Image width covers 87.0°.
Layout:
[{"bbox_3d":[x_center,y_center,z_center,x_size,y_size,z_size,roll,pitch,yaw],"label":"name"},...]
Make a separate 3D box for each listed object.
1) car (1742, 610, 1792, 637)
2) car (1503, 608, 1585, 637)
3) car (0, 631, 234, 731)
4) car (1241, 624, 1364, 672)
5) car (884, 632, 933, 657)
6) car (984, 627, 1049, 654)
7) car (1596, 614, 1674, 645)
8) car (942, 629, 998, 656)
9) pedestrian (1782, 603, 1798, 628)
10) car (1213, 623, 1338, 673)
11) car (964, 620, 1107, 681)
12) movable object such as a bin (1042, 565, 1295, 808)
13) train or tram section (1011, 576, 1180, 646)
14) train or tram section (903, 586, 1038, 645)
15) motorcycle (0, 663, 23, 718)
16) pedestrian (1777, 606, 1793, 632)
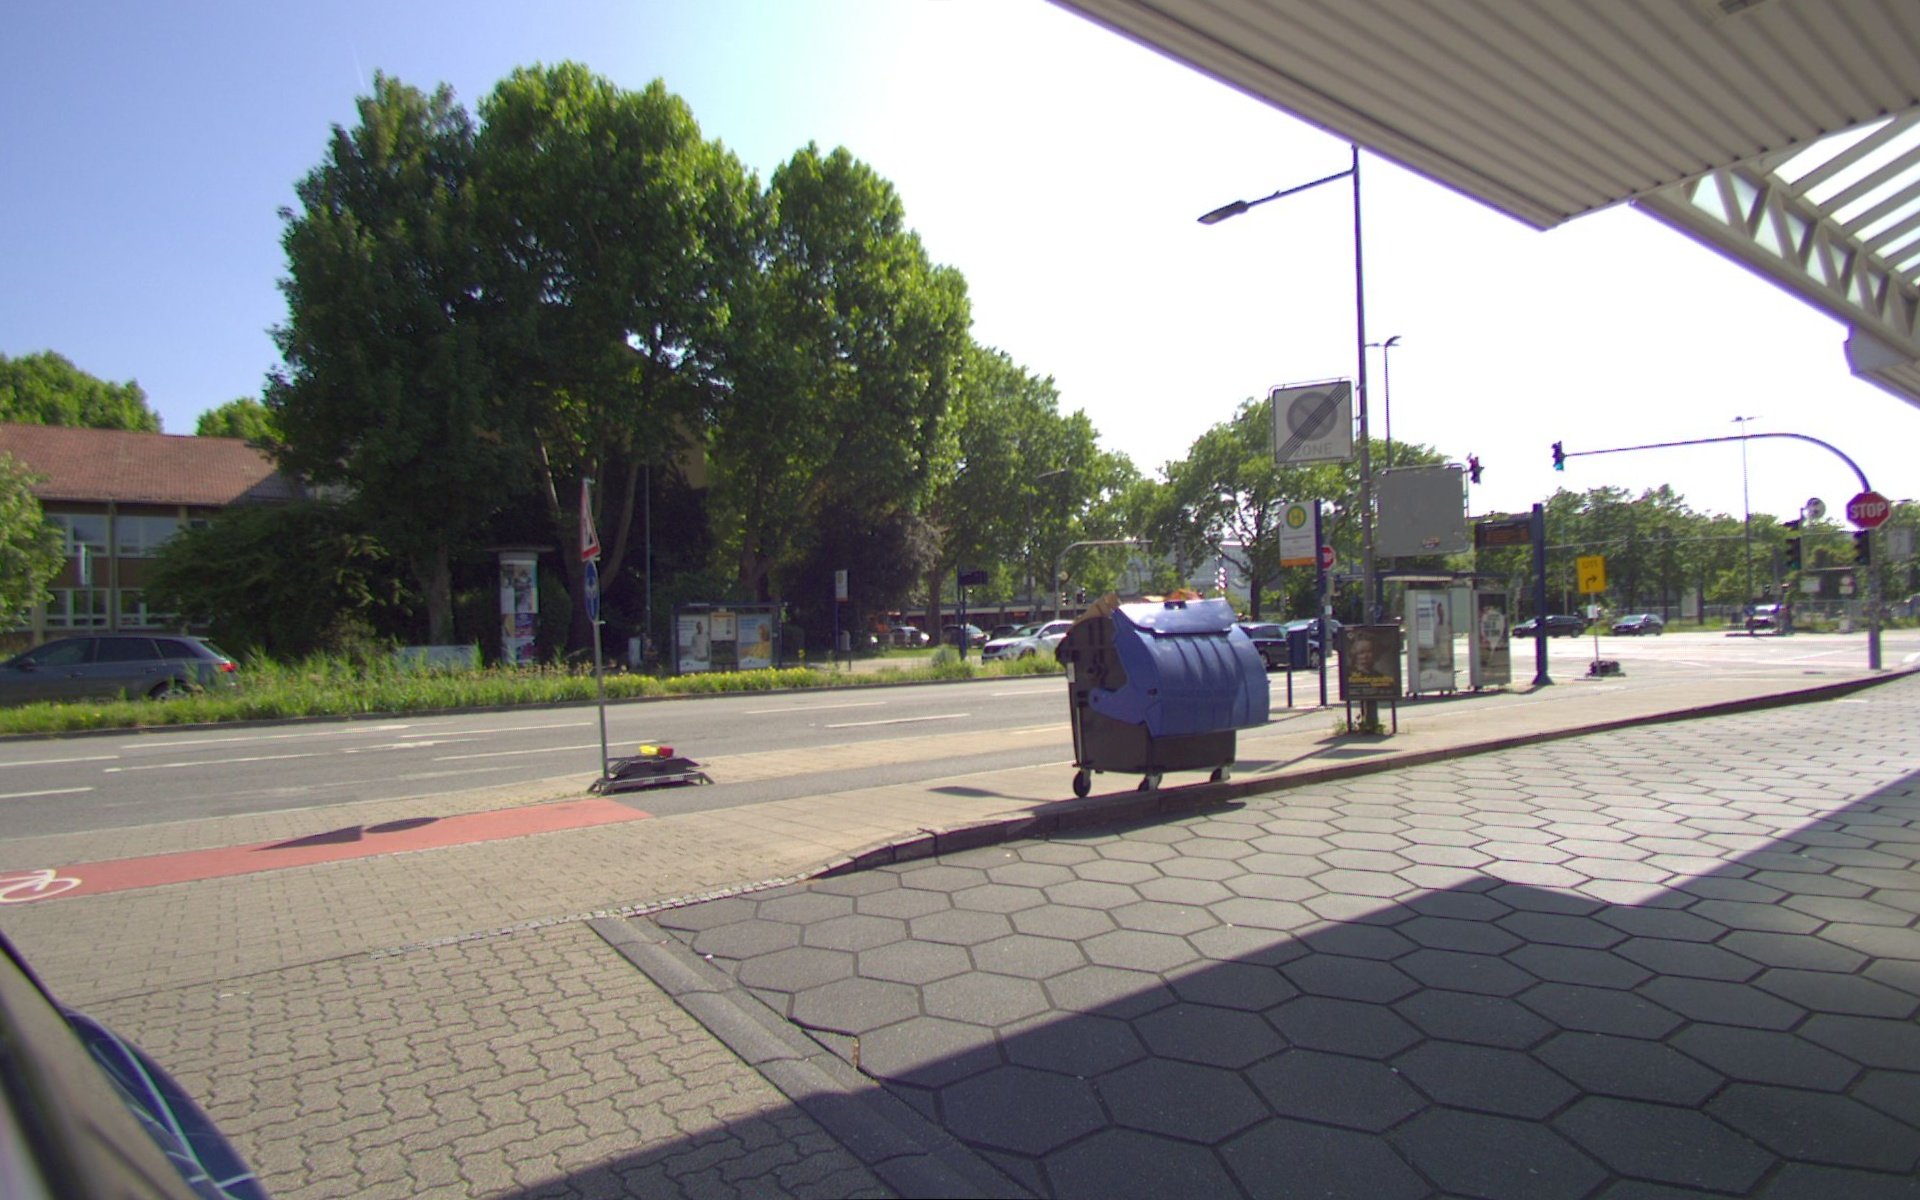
[{"bbox_3d":[63.709,1.856,79.881,4.375,2.029,2.004,0,-4,-38],"label":"car"},{"bbox_3d":[36.726,1.431,63.724,3.958,1.717,1.992,-2,-2,12],"label":"car"},{"bbox_3d":[-16.666,1.499,18.451,5.566,1.623,2.004,0,-4,-36],"label":"car"},{"bbox_3d":[13.764,1.894,40.733,4.315,1.782,2.006,-1,-2,-19],"label":"car"},{"bbox_3d":[-3.916,3.344,76.224,1.838,1.702,4.010,0,-4,-34],"label":"car"},{"bbox_3d":[3.577,2.605,64.683,1.840,1.524,4.005,1,-5,-42],"label":"car"},{"bbox_3d":[44.652,1.969,66.963,4.139,1.819,2.006,-1,-4,-17],"label":"car"},{"bbox_3d":[0.661,2.980,70.085,1.838,1.702,4.010,0,-4,-34],"label":"car"},{"bbox_3d":[49.361,0.934,60.171,0.505,1.480,0.566,0,-2,-35],"label":"pedestrian"},{"bbox_3d":[9.814,1.445,31.366,3.936,1.377,1.689,0,0,-36],"label":"car"},{"bbox_3d":[2.476,1.569,32.755,4.319,1.782,2.005,0,-2,-36],"label":"car"},{"bbox_3d":[1.624,0.652,8.033,1.315,1.701,1.346,0,-4,-34],"label":"movable object such as a bin"},{"bbox_3d":[9.347,1.012,73.117,2.290,4.524,14.978,0,-3,-36],"label":"train or tram section"},{"bbox_3d":[0.491,1.506,85.311,2.290,4.524,15.962,0,-3,-36],"label":"train or tram section"},{"bbox_3d":[-20.550,1.904,21.449,1.752,1.122,0.551,-2,-2,31],"label":"motorcycle"},{"bbox_3d":[48.625,1.129,59.620,0.505,1.480,0.566,0,-2,-35],"label":"pedestrian"}]
